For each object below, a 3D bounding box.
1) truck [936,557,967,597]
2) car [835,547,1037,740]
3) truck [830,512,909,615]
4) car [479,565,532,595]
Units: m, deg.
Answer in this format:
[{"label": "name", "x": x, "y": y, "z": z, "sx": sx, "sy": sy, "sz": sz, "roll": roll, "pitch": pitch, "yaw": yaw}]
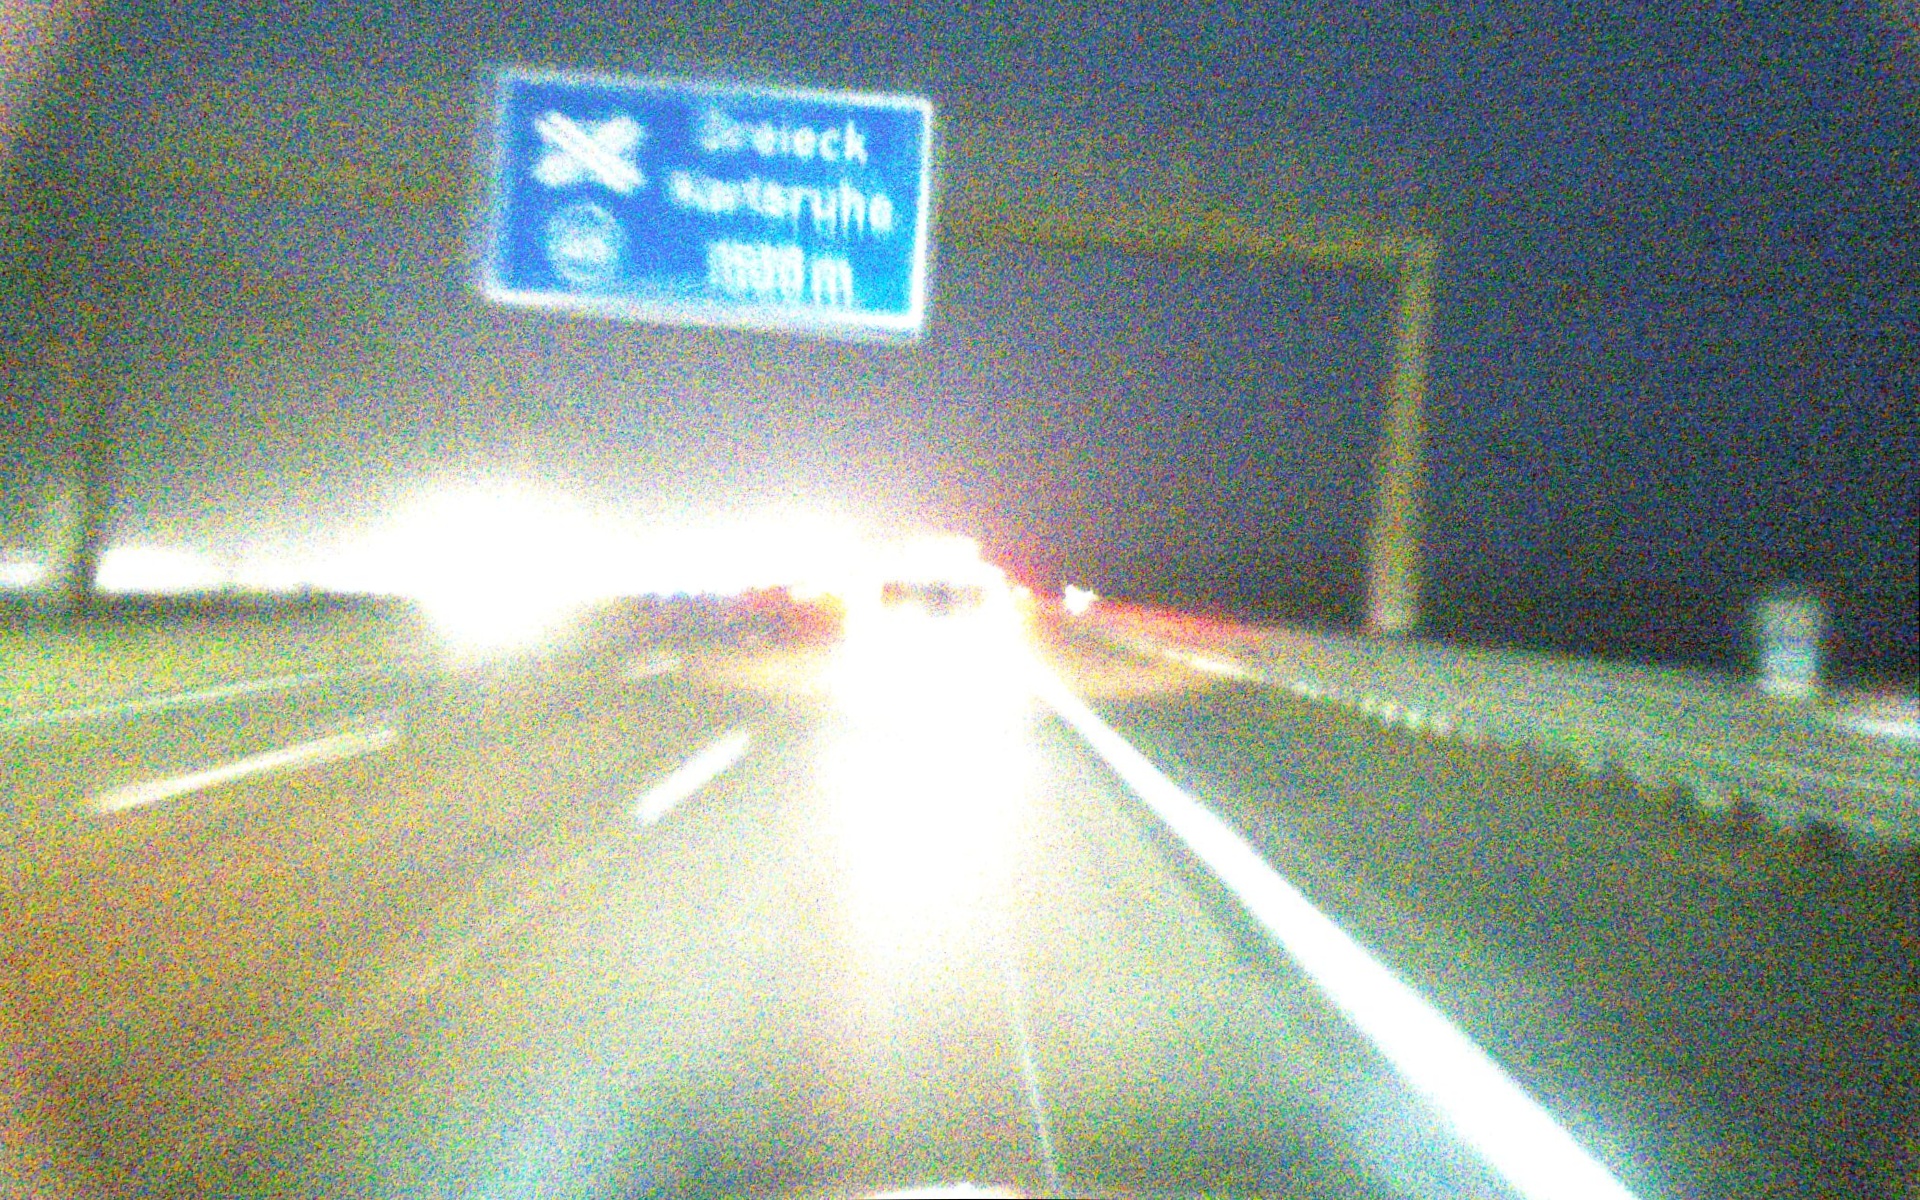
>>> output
[{"label": "truck", "x": -1.142, "y": -2.947, "z": 219.123, "sx": 3.746, "sy": 5.001, "sz": 11.603, "roll": 2, "pitch": 0, "yaw": -1}, {"label": "car", "x": -0.320, "y": 0.413, "z": 18.612, "sx": 1.914, "sy": 1.823, "sz": 5.122, "roll": 2, "pitch": 0, "yaw": -2}, {"label": "truck", "x": -5.258, "y": -2.051, "z": 98.846, "sx": 4.083, "sy": 5.641, "sz": 13.071, "roll": 2, "pitch": 0, "yaw": -1}, {"label": "car", "x": -24.736, "y": -1.105, "z": 90.111, "sx": 1.673, "sy": 1.489, "sz": 4.000, "roll": 3, "pitch": 1, "yaw": 0}]
